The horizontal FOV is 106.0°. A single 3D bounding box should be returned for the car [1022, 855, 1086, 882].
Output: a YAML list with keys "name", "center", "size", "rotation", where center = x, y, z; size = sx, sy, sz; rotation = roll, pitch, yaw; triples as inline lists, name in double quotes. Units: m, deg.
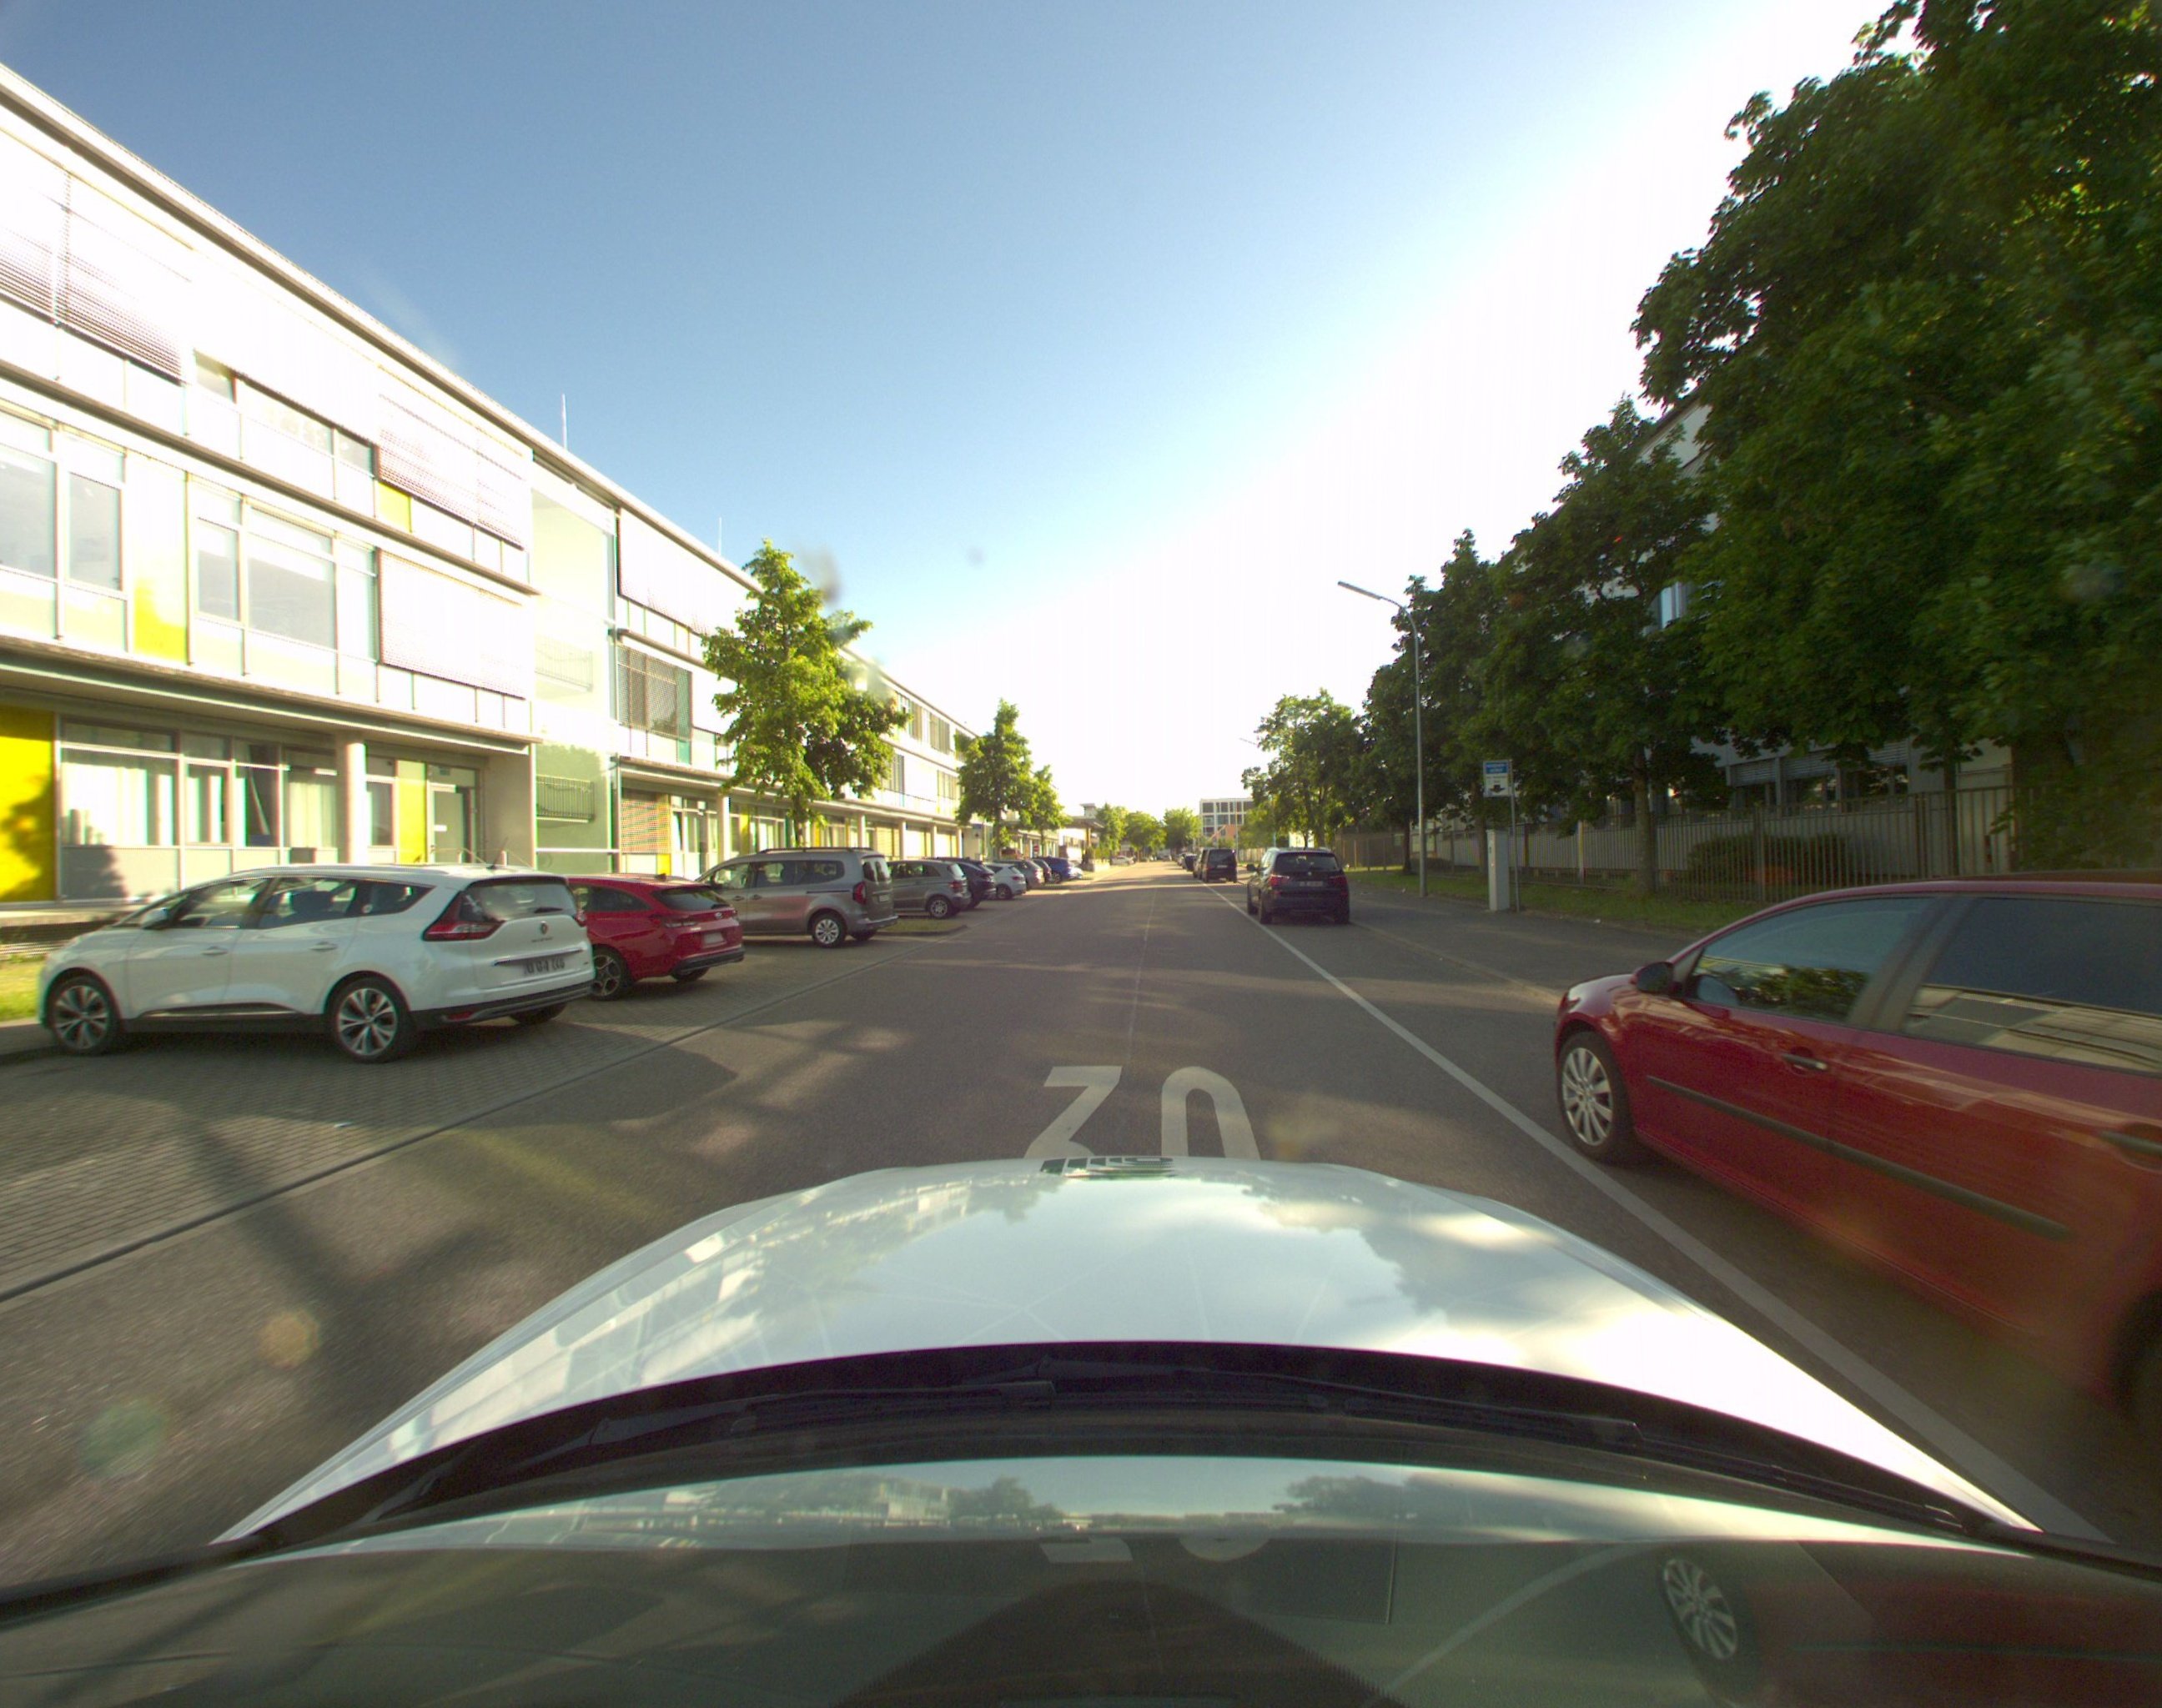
- name: "car"
  center: [-1.730, 0.942, 53.517]
  size: [3.970, 1.552, 2.002]
  rotation: [-2, 0, 3]

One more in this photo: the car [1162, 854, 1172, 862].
- name: "car"
  center: [18.347, 0.864, 173.602]
  size: [1.732, 1.543, 4.013]
  rotation: [-1, 0, 12]

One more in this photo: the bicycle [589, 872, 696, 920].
- name: "bicycle"
  center: [-11.424, 1.066, 21.330]
  size: [0.861, 1.153, 2.387]
  rotation: [0, -1, 27]

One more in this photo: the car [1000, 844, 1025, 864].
- name: "car"
  center: [-7.405, 0.022, 88.060]
  size: [1.984, 2.014, 4.006]
  rotation: [-2, -1, 6]

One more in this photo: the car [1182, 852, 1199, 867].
- name: "car"
  center: [11.193, 0.553, 83.214]
  size: [1.489, 1.479, 3.655]
  rotation: [-3, 0, 6]

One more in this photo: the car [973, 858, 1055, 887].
- name: "car"
  center: [-3.576, 0.975, 44.162]
  size: [4.198, 1.486, 1.873]
  rotation: [0, 0, 2]

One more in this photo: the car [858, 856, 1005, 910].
- name: "car"
  center: [-4.659, 0.898, 25.868]
  size: [4.230, 1.612, 2.049]
  rotation: [0, 0, 2]

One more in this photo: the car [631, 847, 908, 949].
- name: "car"
  center: [-5.991, 0.809, 15.985]
  size: [4.718, 1.865, 1.830]
  rotation: [0, 0, 6]

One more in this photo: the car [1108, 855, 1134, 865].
- name: "car"
  center: [6.454, 1.008, 131.887]
  size: [3.967, 1.519, 2.003]
  rotation: [-2, -1, 6]

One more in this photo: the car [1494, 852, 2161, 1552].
- name: "car"
  center: [3.207, 0.728, 2.655]
  size: [1.711, 1.455, 4.659]
  rotation: [-1, 0, 5]

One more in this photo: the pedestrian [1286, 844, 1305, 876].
- name: "pedestrian"
  center: [11.296, 0.310, 42.909]
  size: [0.695, 1.661, 0.753]
  rotation: [-4, -1, 5]

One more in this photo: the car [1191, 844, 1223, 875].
- name: "car"
  center: [8.642, 0.364, 56.215]
  size: [1.865, 1.978, 4.006]
  rotation: [-3, 0, 6]

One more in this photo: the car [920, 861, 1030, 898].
- name: "car"
  center: [-4.043, 0.964, 31.482]
  size: [3.972, 1.358, 1.744]
  rotation: [0, 0, 2]

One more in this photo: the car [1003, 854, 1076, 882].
- name: "car"
  center: [-2.432, 0.812, 48.610]
  size: [4.198, 1.603, 1.873]
  rotation: [0, 0, 2]

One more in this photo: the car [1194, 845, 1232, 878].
- name: "car"
  center: [8.055, 0.457, 49.985]
  size: [1.984, 1.823, 4.205]
  rotation: [-3, 0, 6]

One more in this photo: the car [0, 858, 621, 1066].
- name: "car"
  center: [-7.138, 0.905, 7.761]
  size: [4.585, 1.651, 1.872]
  rotation: [-1, -1, 9]

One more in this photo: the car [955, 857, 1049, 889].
- name: "car"
  center: [-3.684, 0.880, 38.665]
  size: [4.198, 1.462, 1.873]
  rotation: [0, 0, 2]

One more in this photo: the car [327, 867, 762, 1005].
- name: "car"
  center: [-6.642, 0.989, 10.364]
  size: [4.411, 1.501, 1.830]
  rotation: [-2, -1, 6]

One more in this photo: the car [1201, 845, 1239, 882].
- name: "car"
  center: [7.425, 0.490, 43.765]
  size: [1.724, 1.830, 3.912]
  rotation: [-2, 0, 6]

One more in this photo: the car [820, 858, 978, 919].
- name: "car"
  center: [-5.032, 0.936, 22.931]
  size: [3.972, 1.607, 1.873]
  rotation: [0, 0, 2]

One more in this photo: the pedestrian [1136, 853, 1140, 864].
- name: "pedestrian"
  center: [9.008, 0.734, 128.602]
  size: [0.615, 1.624, 0.717]
  rotation: [-3, 0, 5]

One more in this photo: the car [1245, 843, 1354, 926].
- name: "car"
  center: [4.908, 0.595, 18.890]
  size: [1.802, 1.666, 4.601]
  rotation: [-1, 1, 7]

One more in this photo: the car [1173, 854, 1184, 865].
- name: "car"
  center: [18.713, 1.083, 156.174]
  size: [1.984, 2.014, 4.006]
  rotation: [-2, -1, 6]

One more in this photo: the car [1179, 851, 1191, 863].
- name: "car"
  center: [13.398, 0.379, 104.694]
  size: [1.429, 1.560, 3.047]
  rotation: [-2, 0, 6]

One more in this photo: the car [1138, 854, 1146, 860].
- name: "car"
  center: [14.810, 0.721, 197.906]
  size: [1.719, 1.536, 4.005]
  rotation: [-2, 0, 4]
